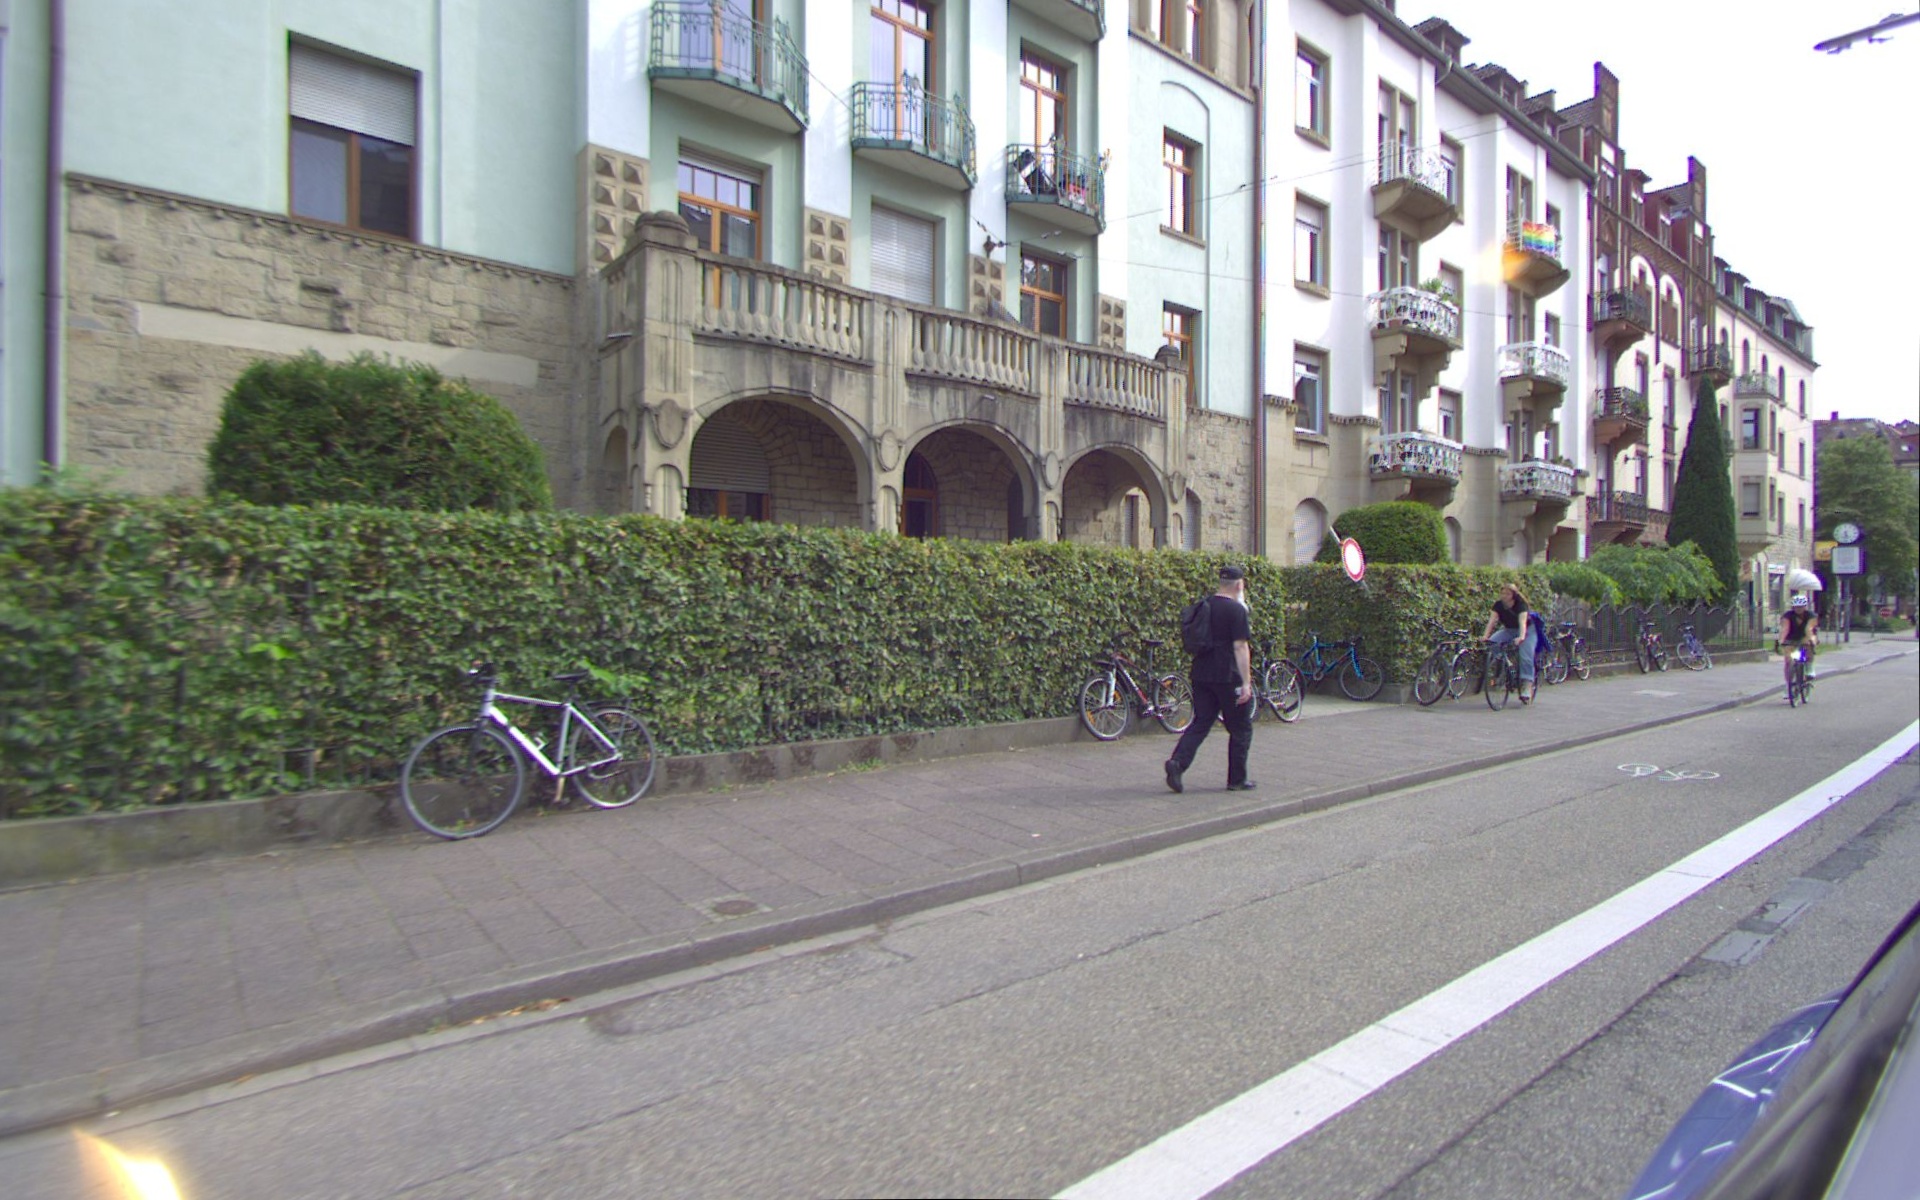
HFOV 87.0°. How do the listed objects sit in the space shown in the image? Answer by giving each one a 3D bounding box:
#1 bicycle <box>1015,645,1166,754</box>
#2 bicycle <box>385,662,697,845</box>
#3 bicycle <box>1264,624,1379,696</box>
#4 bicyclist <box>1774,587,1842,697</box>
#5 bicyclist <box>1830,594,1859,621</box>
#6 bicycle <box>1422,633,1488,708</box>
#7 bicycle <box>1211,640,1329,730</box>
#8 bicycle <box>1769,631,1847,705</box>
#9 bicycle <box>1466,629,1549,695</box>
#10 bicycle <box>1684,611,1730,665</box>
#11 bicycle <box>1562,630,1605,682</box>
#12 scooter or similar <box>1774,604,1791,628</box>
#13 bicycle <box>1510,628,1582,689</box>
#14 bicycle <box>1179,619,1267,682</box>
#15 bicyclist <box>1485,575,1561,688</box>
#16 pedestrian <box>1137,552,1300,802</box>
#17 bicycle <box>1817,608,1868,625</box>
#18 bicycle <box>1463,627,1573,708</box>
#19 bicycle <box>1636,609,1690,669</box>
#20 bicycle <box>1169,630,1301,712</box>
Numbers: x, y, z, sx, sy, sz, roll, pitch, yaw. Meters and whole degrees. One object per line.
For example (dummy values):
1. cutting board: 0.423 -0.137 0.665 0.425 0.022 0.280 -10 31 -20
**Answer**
1. bicycle: 1.294 0.938 9.854 1.633 0.918 0.387 0 1 -35
2. bicycle: -2.595 0.910 6.434 1.810 0.918 0.386 -1 1 -42
3. bicycle: 5.253 0.846 14.806 0.477 0.918 1.667 0 1 -31
4. bicyclist: 12.889 0.611 15.373 1.091 1.590 0.639 1 0 -42
5. bicyclist: 57.581 0.500 65.883 0.825 1.711 1.244 1 -1 7
6. bicycle: 7.032 0.971 14.347 0.485 0.918 1.642 1 1 39
7. bicycle: 3.595 0.951 11.677 1.633 0.918 0.387 0 1 -35
8. bicycle: 12.931 0.999 15.409 2.036 0.993 0.639 0 0 -42
9. bicycle: 8.445 0.933 15.587 1.634 0.918 0.487 0 1 -37
10. bicycle: 16.399 0.813 22.196 1.728 1.116 0.392 1 1 -40
11. bicycle: 11.070 0.982 17.959 1.176 0.863 0.278 0 1 -40
12. scooter or similar: 41.356 0.795 50.902 1.175 1.182 0.398 1 1 -39
13. bicycle: 9.729 0.947 16.788 1.635 0.918 0.487 0 1 -40
14. bicycle: 4.232 0.800 16.368 0.382 0.899 1.444 1 2 -37
15. bicyclist: 7.783 0.422 13.987 0.787 1.488 0.648 1 1 -42
16. pedestrian: 1.971 0.533 7.720 0.880 1.754 0.787 1 2 -40
17. bicycle: 57.579 1.066 66.090 0.871 1.058 3.091 0 0 6
18. bicycle: 7.714 0.892 13.946 2.001 0.974 0.689 1 2 -42
19. bicycle: 14.291 0.777 20.565 1.886 1.156 0.392 1 1 -40
20. bicycle: 3.525 0.884 13.072 0.479 0.918 1.663 0 1 -41
